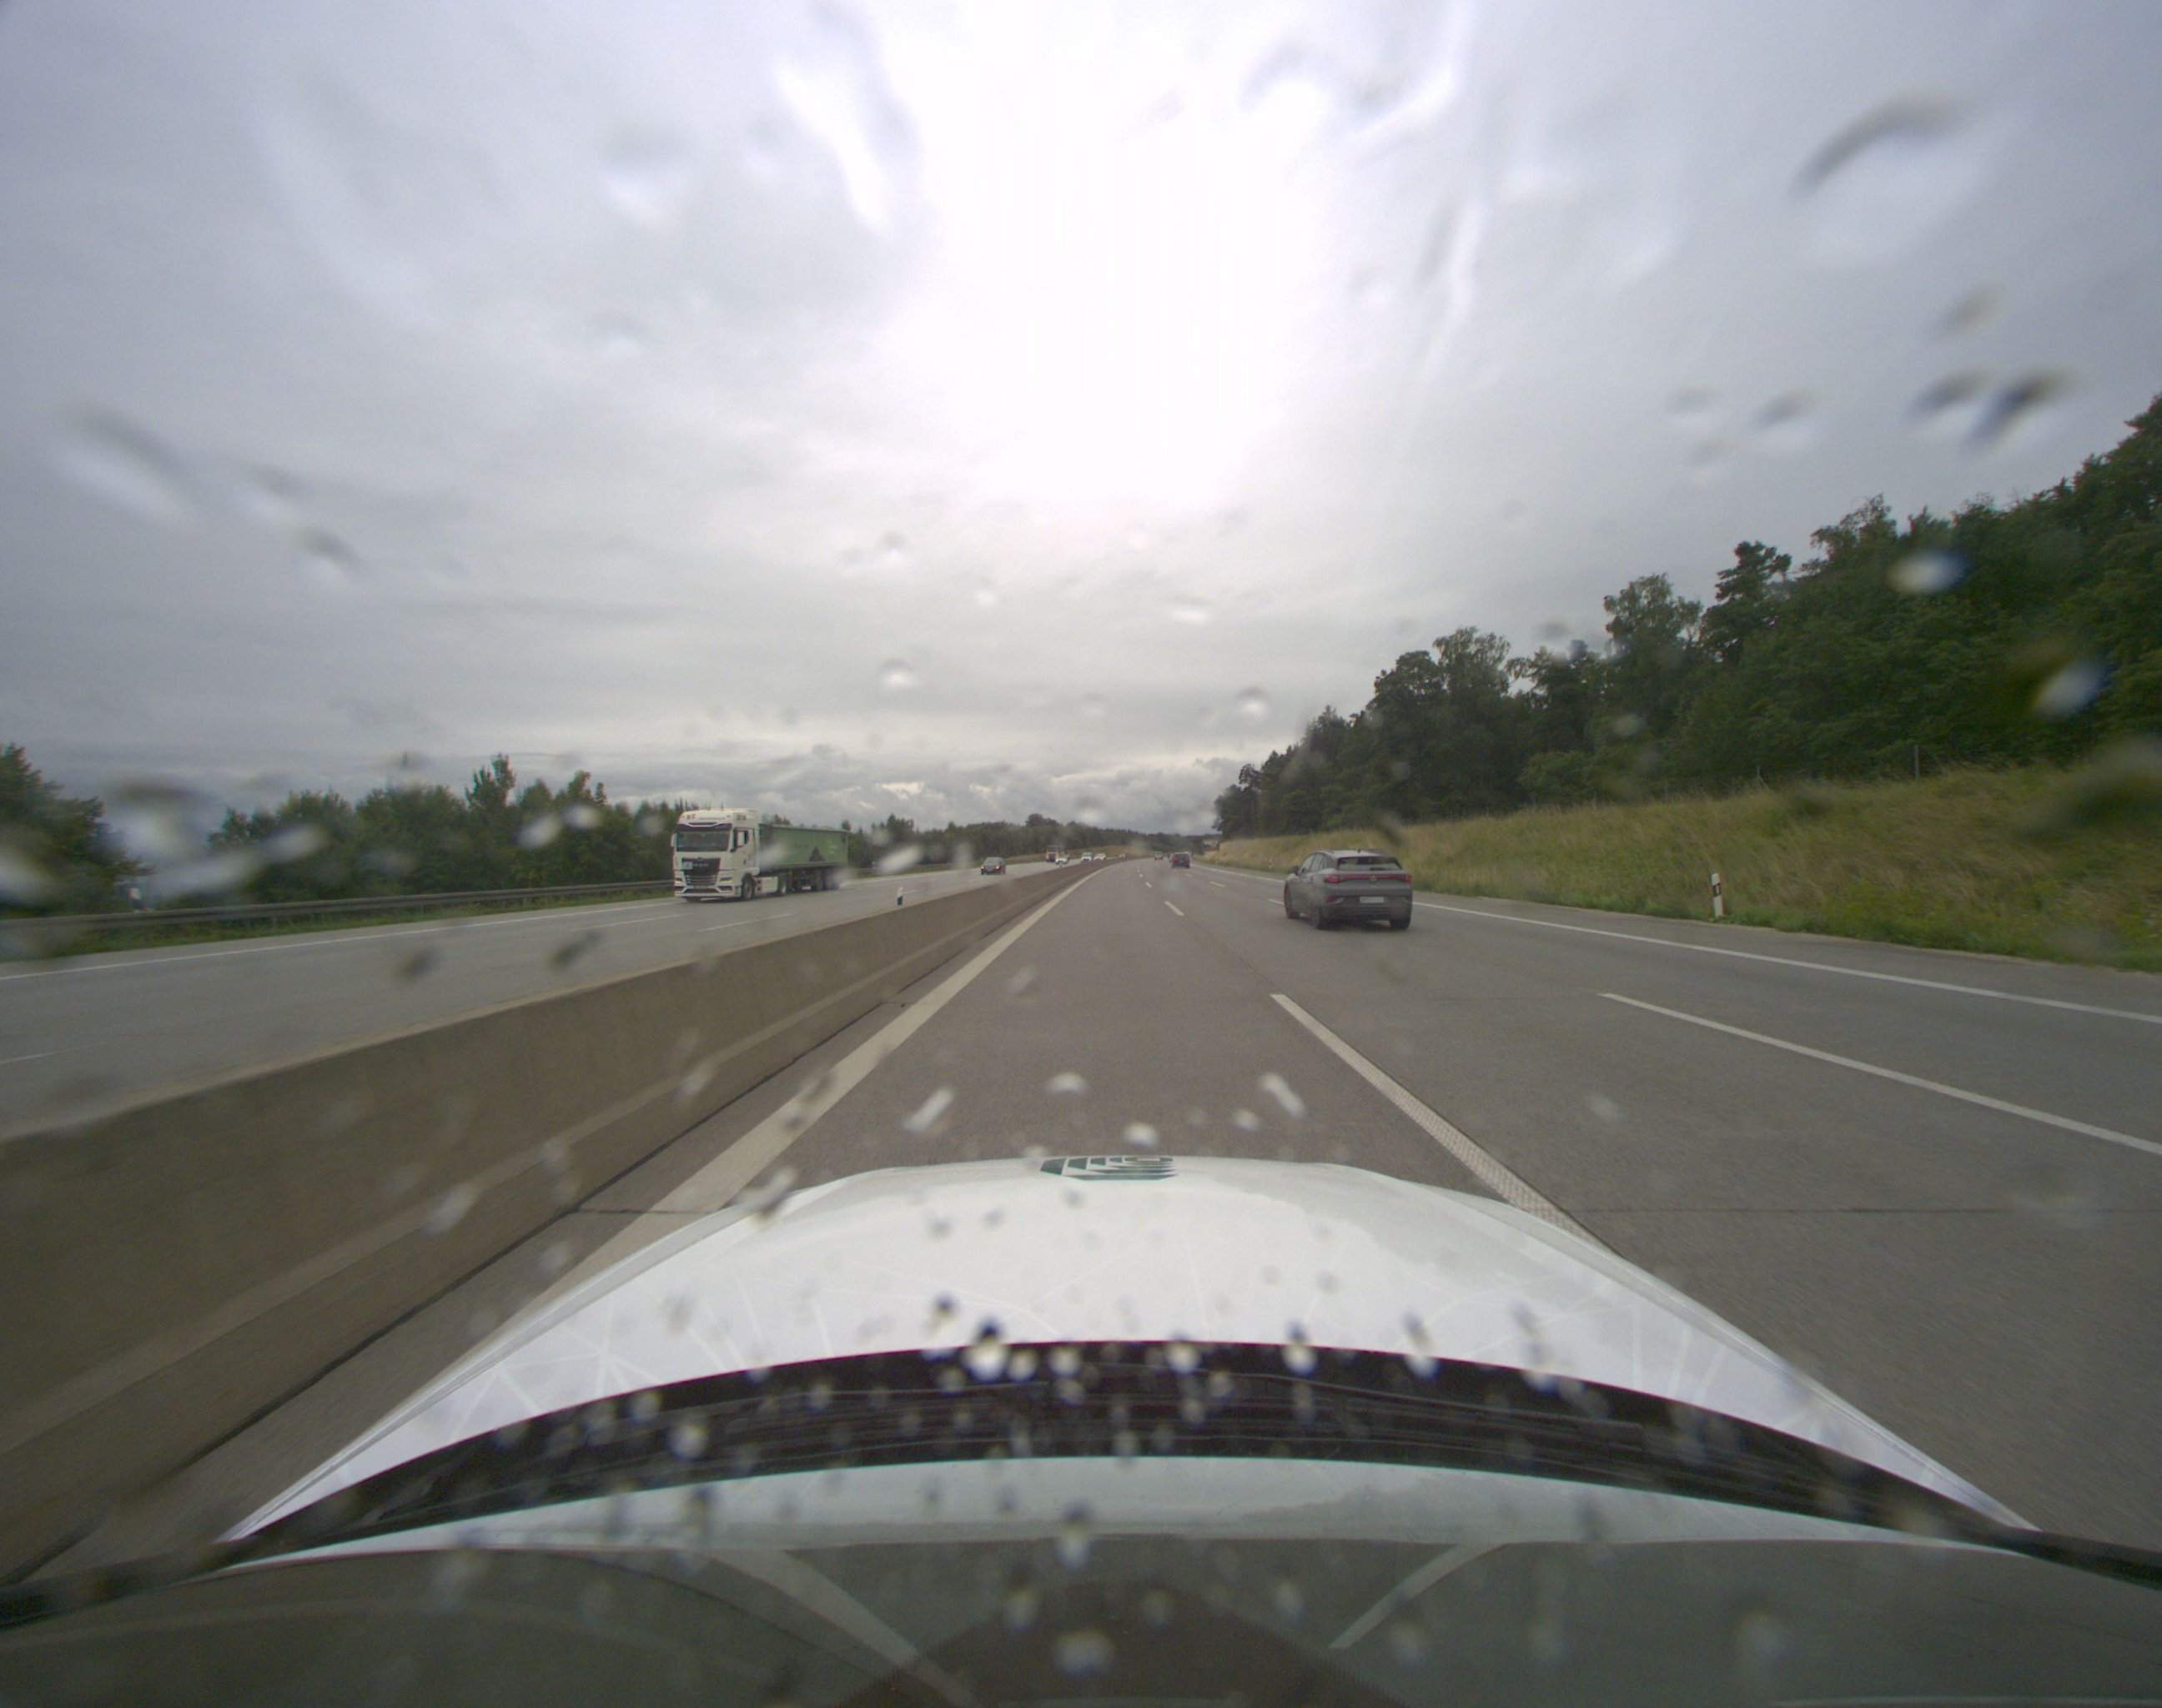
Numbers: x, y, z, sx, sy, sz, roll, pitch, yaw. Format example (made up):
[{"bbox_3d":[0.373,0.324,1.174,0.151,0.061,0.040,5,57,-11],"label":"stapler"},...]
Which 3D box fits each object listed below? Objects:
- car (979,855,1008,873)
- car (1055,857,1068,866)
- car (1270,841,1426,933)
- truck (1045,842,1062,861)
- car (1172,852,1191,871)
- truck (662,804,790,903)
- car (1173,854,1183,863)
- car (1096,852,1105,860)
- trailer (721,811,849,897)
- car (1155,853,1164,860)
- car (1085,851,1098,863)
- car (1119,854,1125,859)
[{"bbox_3d":[-8.056,0.915,75.630,1.986,1.589,4.774,-1,0,2],"label":"car"},{"bbox_3d":[-3.185,1.285,136.156,1.728,1.367,4.103,2,2,5],"label":"car"},{"bbox_3d":[5.589,0.575,17.814,1.890,1.689,5.270,-1,1,3],"label":"car"},{"bbox_3d":[-5.602,-0.476,164.273,2.575,3.652,7.668,-1,0,4],"label":"truck"},{"bbox_3d":[10.862,0.792,88.558,1.777,1.746,3.920,-4,1,4],"label":"car"},{"bbox_3d":[-14.844,0.010,34.540,2.739,3.802,5.534,-1,-1,2],"label":"truck"},{"bbox_3d":[16.927,0.827,142.275,1.792,1.465,3.817,-1,1,6],"label":"car"},{"bbox_3d":[3.976,0.451,165.343,1.706,1.420,4.219,2,2,5],"label":"car"},{"bbox_3d":[-14.580,0.006,41.144,2.739,3.799,9.320,-1,0,2],"label":"trailer"},{"bbox_3d":[18.139,0.523,188.298,1.832,1.500,4.008,-4,1,6],"label":"car"},{"bbox_3d":[1.829,0.534,142.394,1.985,2.013,5.530,0,1,3],"label":"car"},{"bbox_3d":[12.192,0.698,241.542,1.755,1.267,4.497,-3,-2,3],"label":"car"}]
